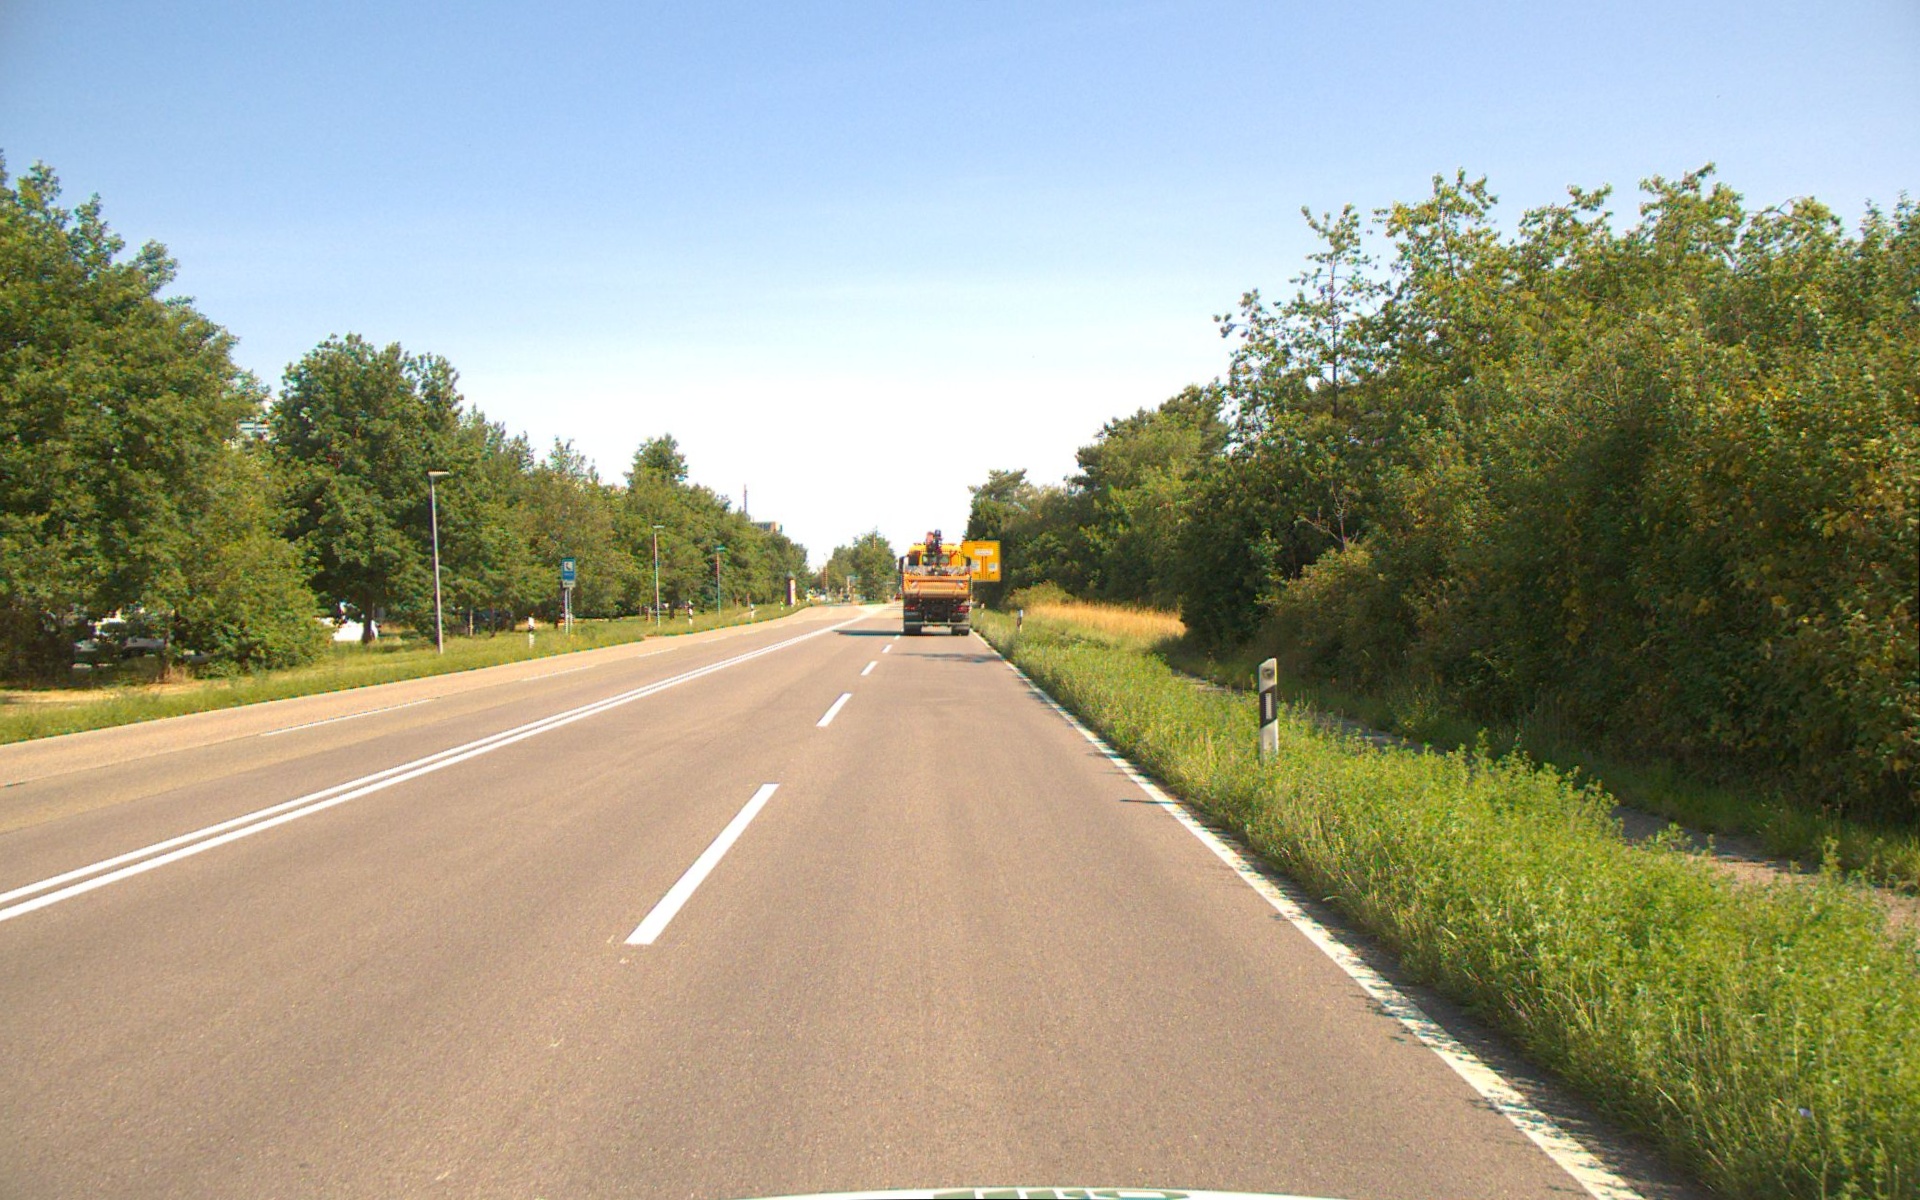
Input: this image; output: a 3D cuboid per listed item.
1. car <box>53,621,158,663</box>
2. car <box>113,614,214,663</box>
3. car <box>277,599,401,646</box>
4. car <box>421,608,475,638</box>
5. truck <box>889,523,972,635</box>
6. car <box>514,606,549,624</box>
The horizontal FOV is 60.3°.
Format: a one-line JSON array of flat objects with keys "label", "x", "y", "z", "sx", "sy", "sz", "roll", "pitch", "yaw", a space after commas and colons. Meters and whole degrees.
[{"label": "car", "x": -32.193, "y": 1.548, "z": 62.436, "sx": 1.890, "sy": 1.418, "sz": 4.190, "roll": -1, "pitch": 0, "yaw": -2}, {"label": "car", "x": -29.901, "y": 1.420, "z": 62.210, "sx": 1.890, "sy": 1.680, "sz": 4.190, "roll": -1, "pitch": 0, "yaw": -2}, {"label": "car", "x": -27.374, "y": 0.950, "z": 73.095, "sx": 2.028, "sy": 1.963, "sz": 5.007, "roll": -1, "pitch": 0, "yaw": 29}, {"label": "car", "x": -29.480, "y": 1.316, "z": 95.360, "sx": 1.708, "sy": 1.606, "sz": 4.547, "roll": -1, "pitch": 0, "yaw": -1}, {"label": "truck", "x": -1.201, "y": -0.756, "z": 62.609, "sx": 2.815, "sy": 3.948, "sz": 7.395, "roll": 1, "pitch": 0, "yaw": -3}, {"label": "car", "x": -39.510, "y": 1.373, "z": 152.604, "sx": 1.952, "sy": 1.462, "sz": 4.955, "roll": -1, "pitch": 0, "yaw": 0}]
